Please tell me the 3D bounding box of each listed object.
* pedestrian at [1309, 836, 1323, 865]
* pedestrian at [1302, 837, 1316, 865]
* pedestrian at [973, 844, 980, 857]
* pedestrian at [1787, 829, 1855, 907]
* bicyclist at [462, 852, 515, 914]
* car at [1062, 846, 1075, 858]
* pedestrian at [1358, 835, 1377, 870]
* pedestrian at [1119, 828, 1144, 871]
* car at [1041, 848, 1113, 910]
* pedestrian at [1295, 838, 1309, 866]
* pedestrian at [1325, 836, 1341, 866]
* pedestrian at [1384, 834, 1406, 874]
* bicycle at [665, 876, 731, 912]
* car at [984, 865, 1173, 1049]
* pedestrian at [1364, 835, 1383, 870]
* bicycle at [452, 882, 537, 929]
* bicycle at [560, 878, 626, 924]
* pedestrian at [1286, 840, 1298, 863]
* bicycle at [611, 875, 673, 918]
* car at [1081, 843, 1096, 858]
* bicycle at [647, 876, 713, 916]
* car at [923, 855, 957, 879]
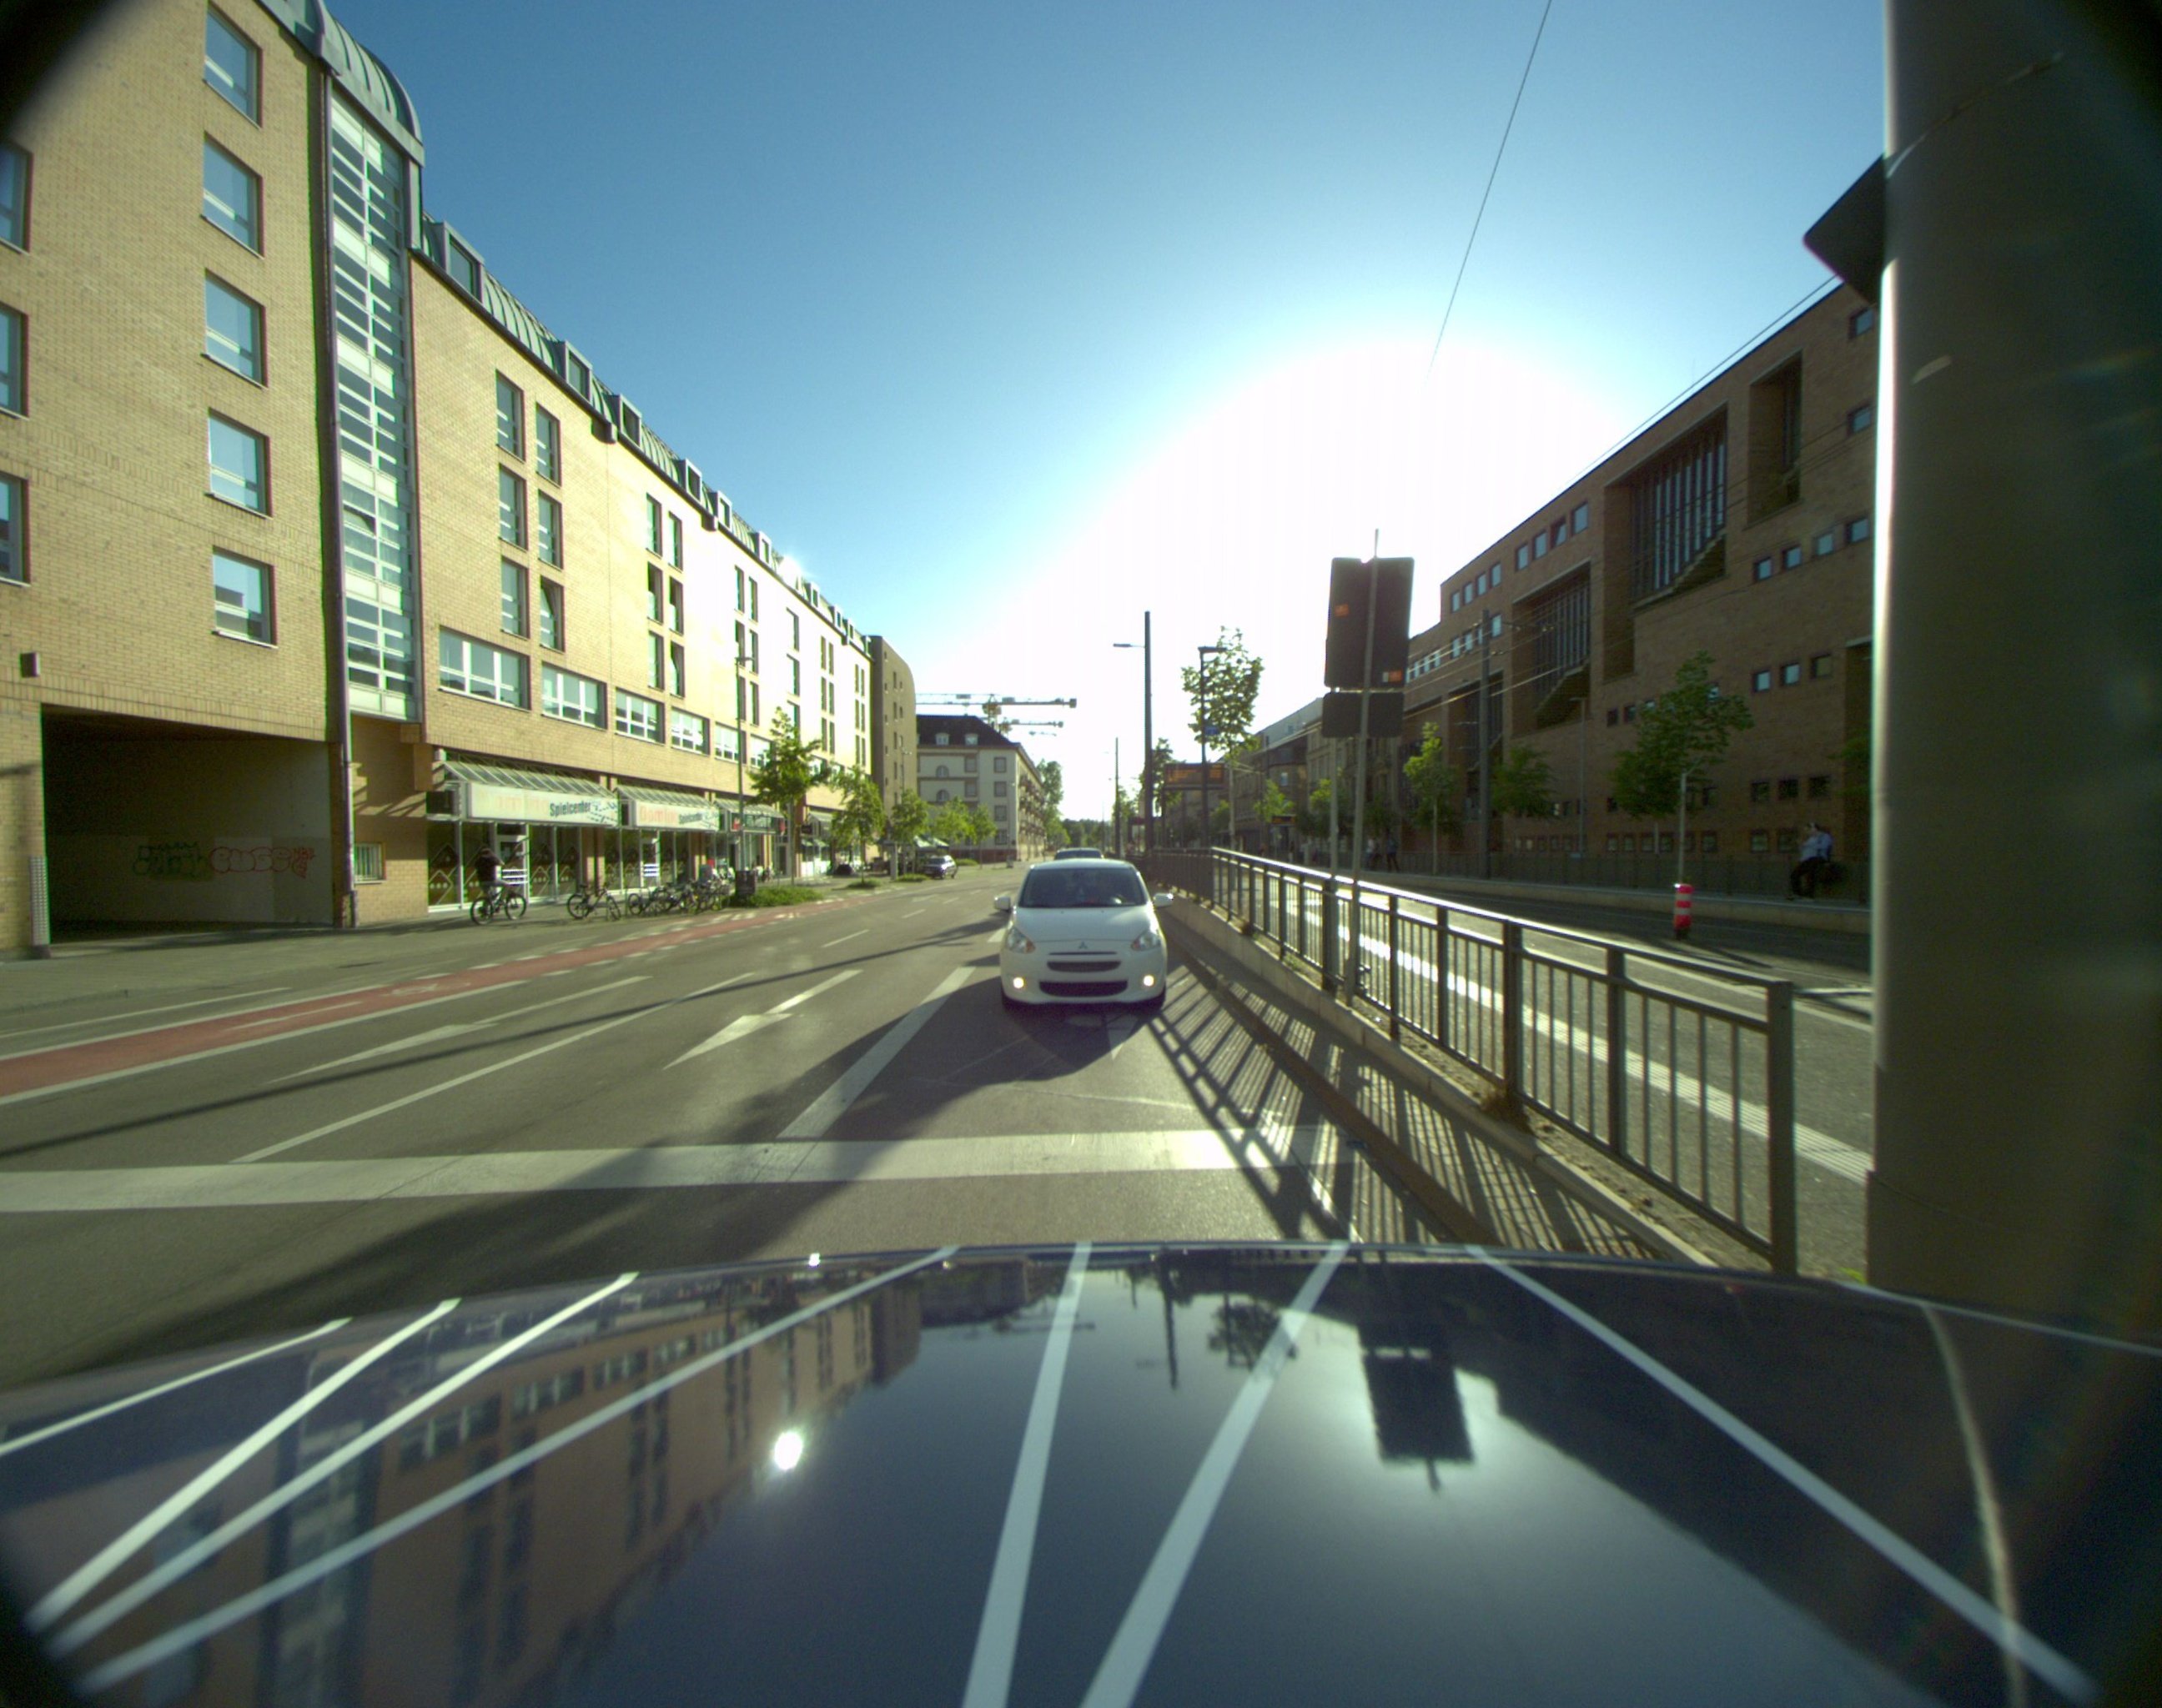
[{"bbox_3d":[14.216,-0.221,45.980,0.692,1.732,0.586,0,1,-2],"label":"pedestrian"},{"bbox_3d":[14.221,-0.161,47.336,0.692,1.732,0.586,0,1,-2],"label":"pedestrian"},{"bbox_3d":[-13.543,-0.453,98.735,0.804,1.656,0.891,0,1,-5],"label":"pedestrian"},{"bbox_3d":[14.773,0.272,15.182,0.701,1.526,0.654,0,1,-2],"label":"pedestrian"},{"bbox_3d":[-15.132,0.728,19.411,0.580,1.506,0.850,4,0,3],"label":"bicyclist"},{"bbox_3d":[-1.790,-0.338,108.459,1.829,1.644,3.682,0,0,1],"label":"car"},{"bbox_3d":[14.214,-0.083,37.727,0.692,1.732,0.586,0,1,-2],"label":"pedestrian"},{"bbox_3d":[2.389,-0.225,36.117,0.882,2.002,0.783,-1,1,-30],"label":"pedestrian"},{"bbox_3d":[-0.102,0.685,23.558,1.955,1.652,4.354,-2,1,0],"label":"car"},{"bbox_3d":[14.154,-0.127,48.736,0.692,1.732,0.586,0,1,-2],"label":"pedestrian"},{"bbox_3d":[14.388,-0.182,43.331,0.692,1.732,0.586,0,1,-2],"label":"pedestrian"},{"bbox_3d":[13.706,0.009,33.197,0.692,1.732,0.586,0,1,-2],"label":"pedestrian"},{"bbox_3d":[-12.426,1.287,24.707,1.774,1.065,0.737,1,2,3],"label":"bicycle"},{"bbox_3d":[-0.008,0.951,8.854,1.640,1.458,4.185,-2,1,0],"label":"car"},{"bbox_3d":[14.264,-0.073,37.053,0.692,1.732,0.586,0,1,-2],"label":"pedestrian"},{"bbox_3d":[-15.154,1.304,19.690,0.602,1.044,1.882,4,1,3],"label":"bicycle"},{"bbox_3d":[-13.387,1.274,20.837,1.771,1.142,0.554,2,3,21],"label":"bicycle"},{"bbox_3d":[14.245,-0.172,51.308,0.692,1.566,0.586,0,1,-2],"label":"pedestrian"},{"bbox_3d":[-12.836,1.234,22.209,1.771,1.142,0.554,2,3,21],"label":"bicycle"},{"bbox_3d":[0.960,-0.443,99.762,1.998,1.958,4.000,0,1,0],"label":"car"},{"bbox_3d":[-12.379,1.293,23.477,1.774,1.135,0.553,1,2,3],"label":"bicycle"},{"bbox_3d":[-10.014,0.926,54.080,1.655,1.521,3.692,-2,1,1],"label":"car"}]
